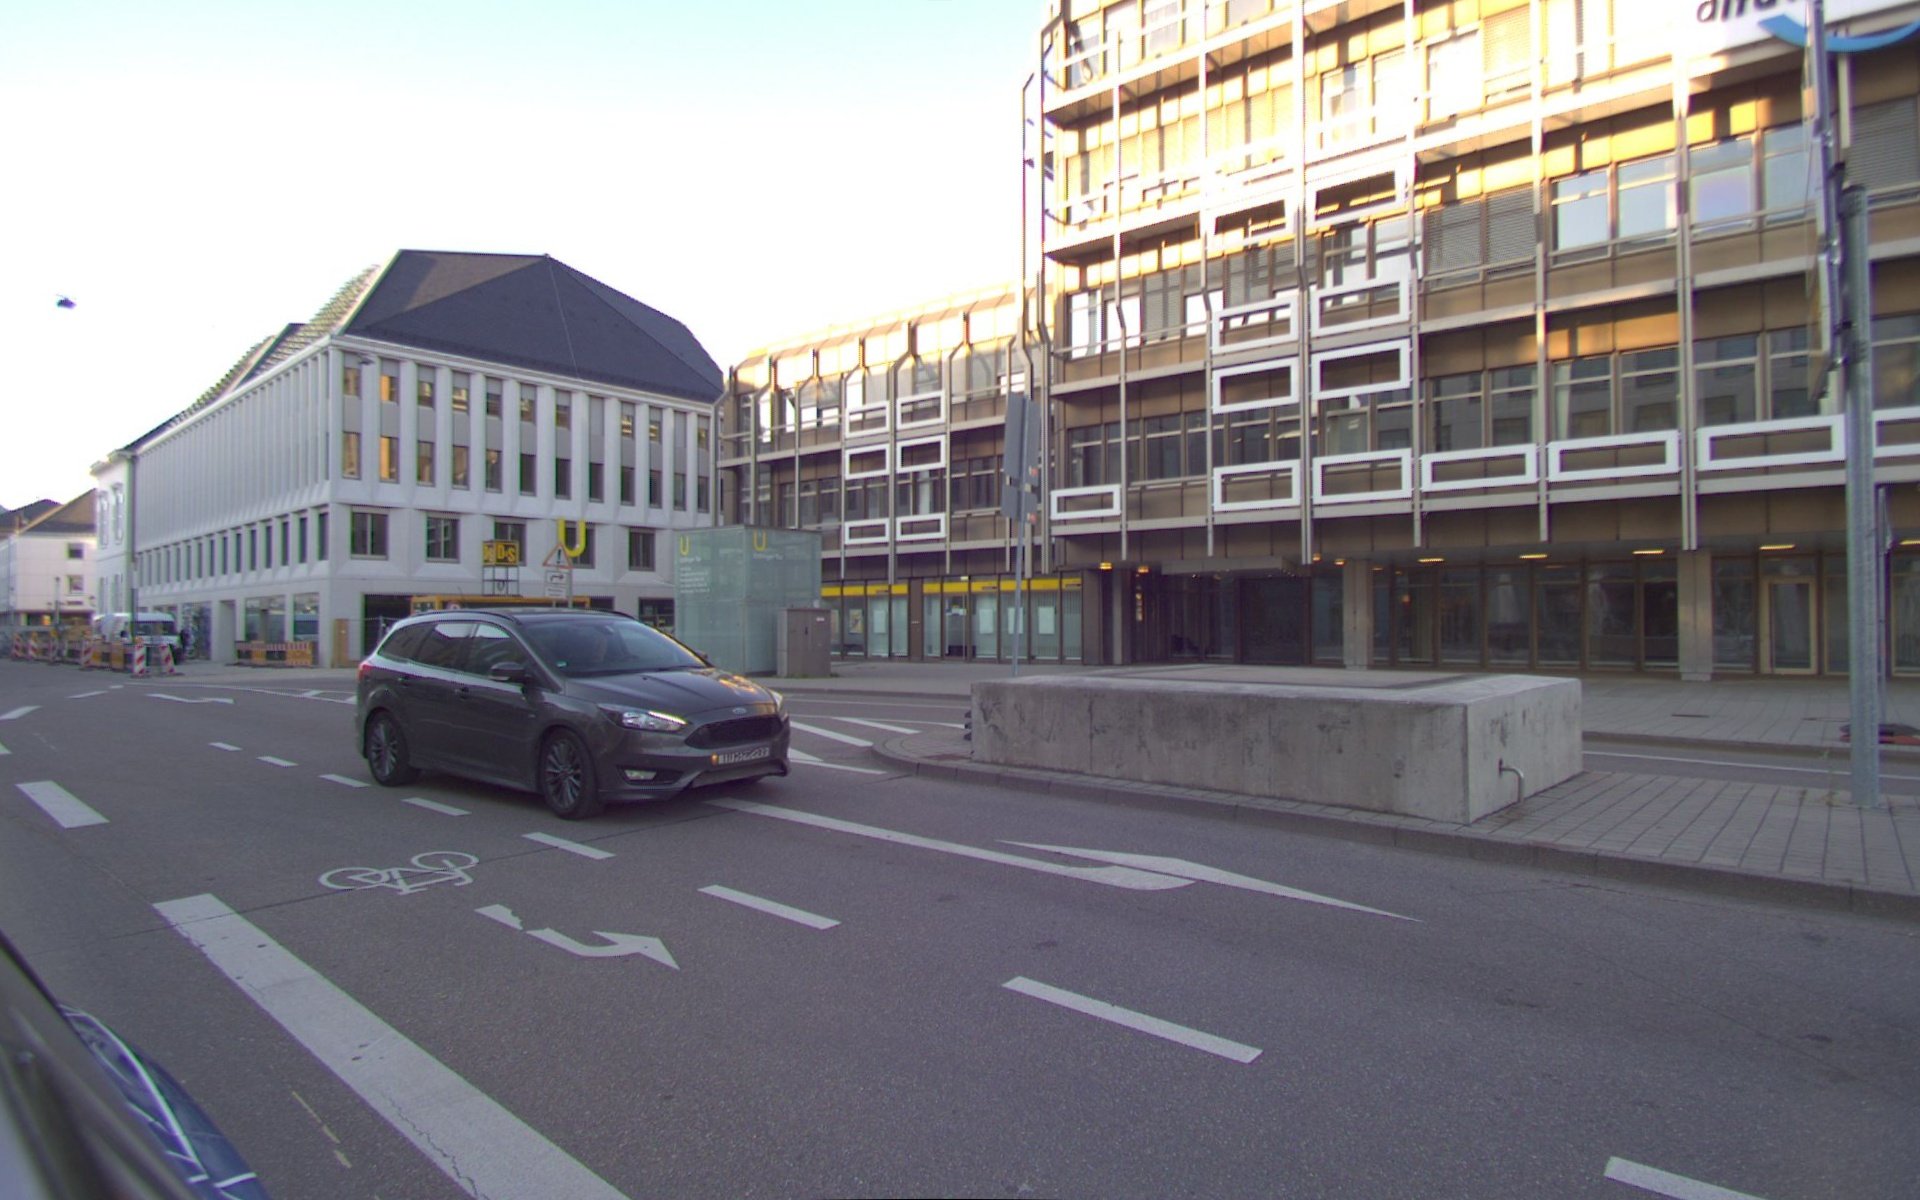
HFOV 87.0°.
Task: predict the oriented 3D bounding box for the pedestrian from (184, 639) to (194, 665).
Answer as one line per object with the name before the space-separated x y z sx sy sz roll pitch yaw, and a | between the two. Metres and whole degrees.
pedestrian | -38.717 2.609 50.822 0.338 1.326 0.346 -2 -3 41

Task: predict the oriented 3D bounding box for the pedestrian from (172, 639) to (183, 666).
pedestrian | -39.021 2.613 50.487 0.338 1.326 0.346 -2 -3 41

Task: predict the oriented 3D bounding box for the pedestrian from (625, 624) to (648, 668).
pedestrian | -11.205 1.591 35.056 0.555 1.508 0.525 -2 -3 41

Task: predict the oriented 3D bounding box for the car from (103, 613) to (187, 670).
car | -38.833 1.959 48.161 6.047 2.575 2.114 -2 -3 41

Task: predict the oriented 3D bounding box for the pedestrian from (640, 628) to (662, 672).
pedestrian | -10.873 1.755 35.660 0.555 1.508 0.525 -2 -3 41

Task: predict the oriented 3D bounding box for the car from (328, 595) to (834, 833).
car | -3.245 0.763 8.281 4.370 1.473 1.742 -2 -1 36
